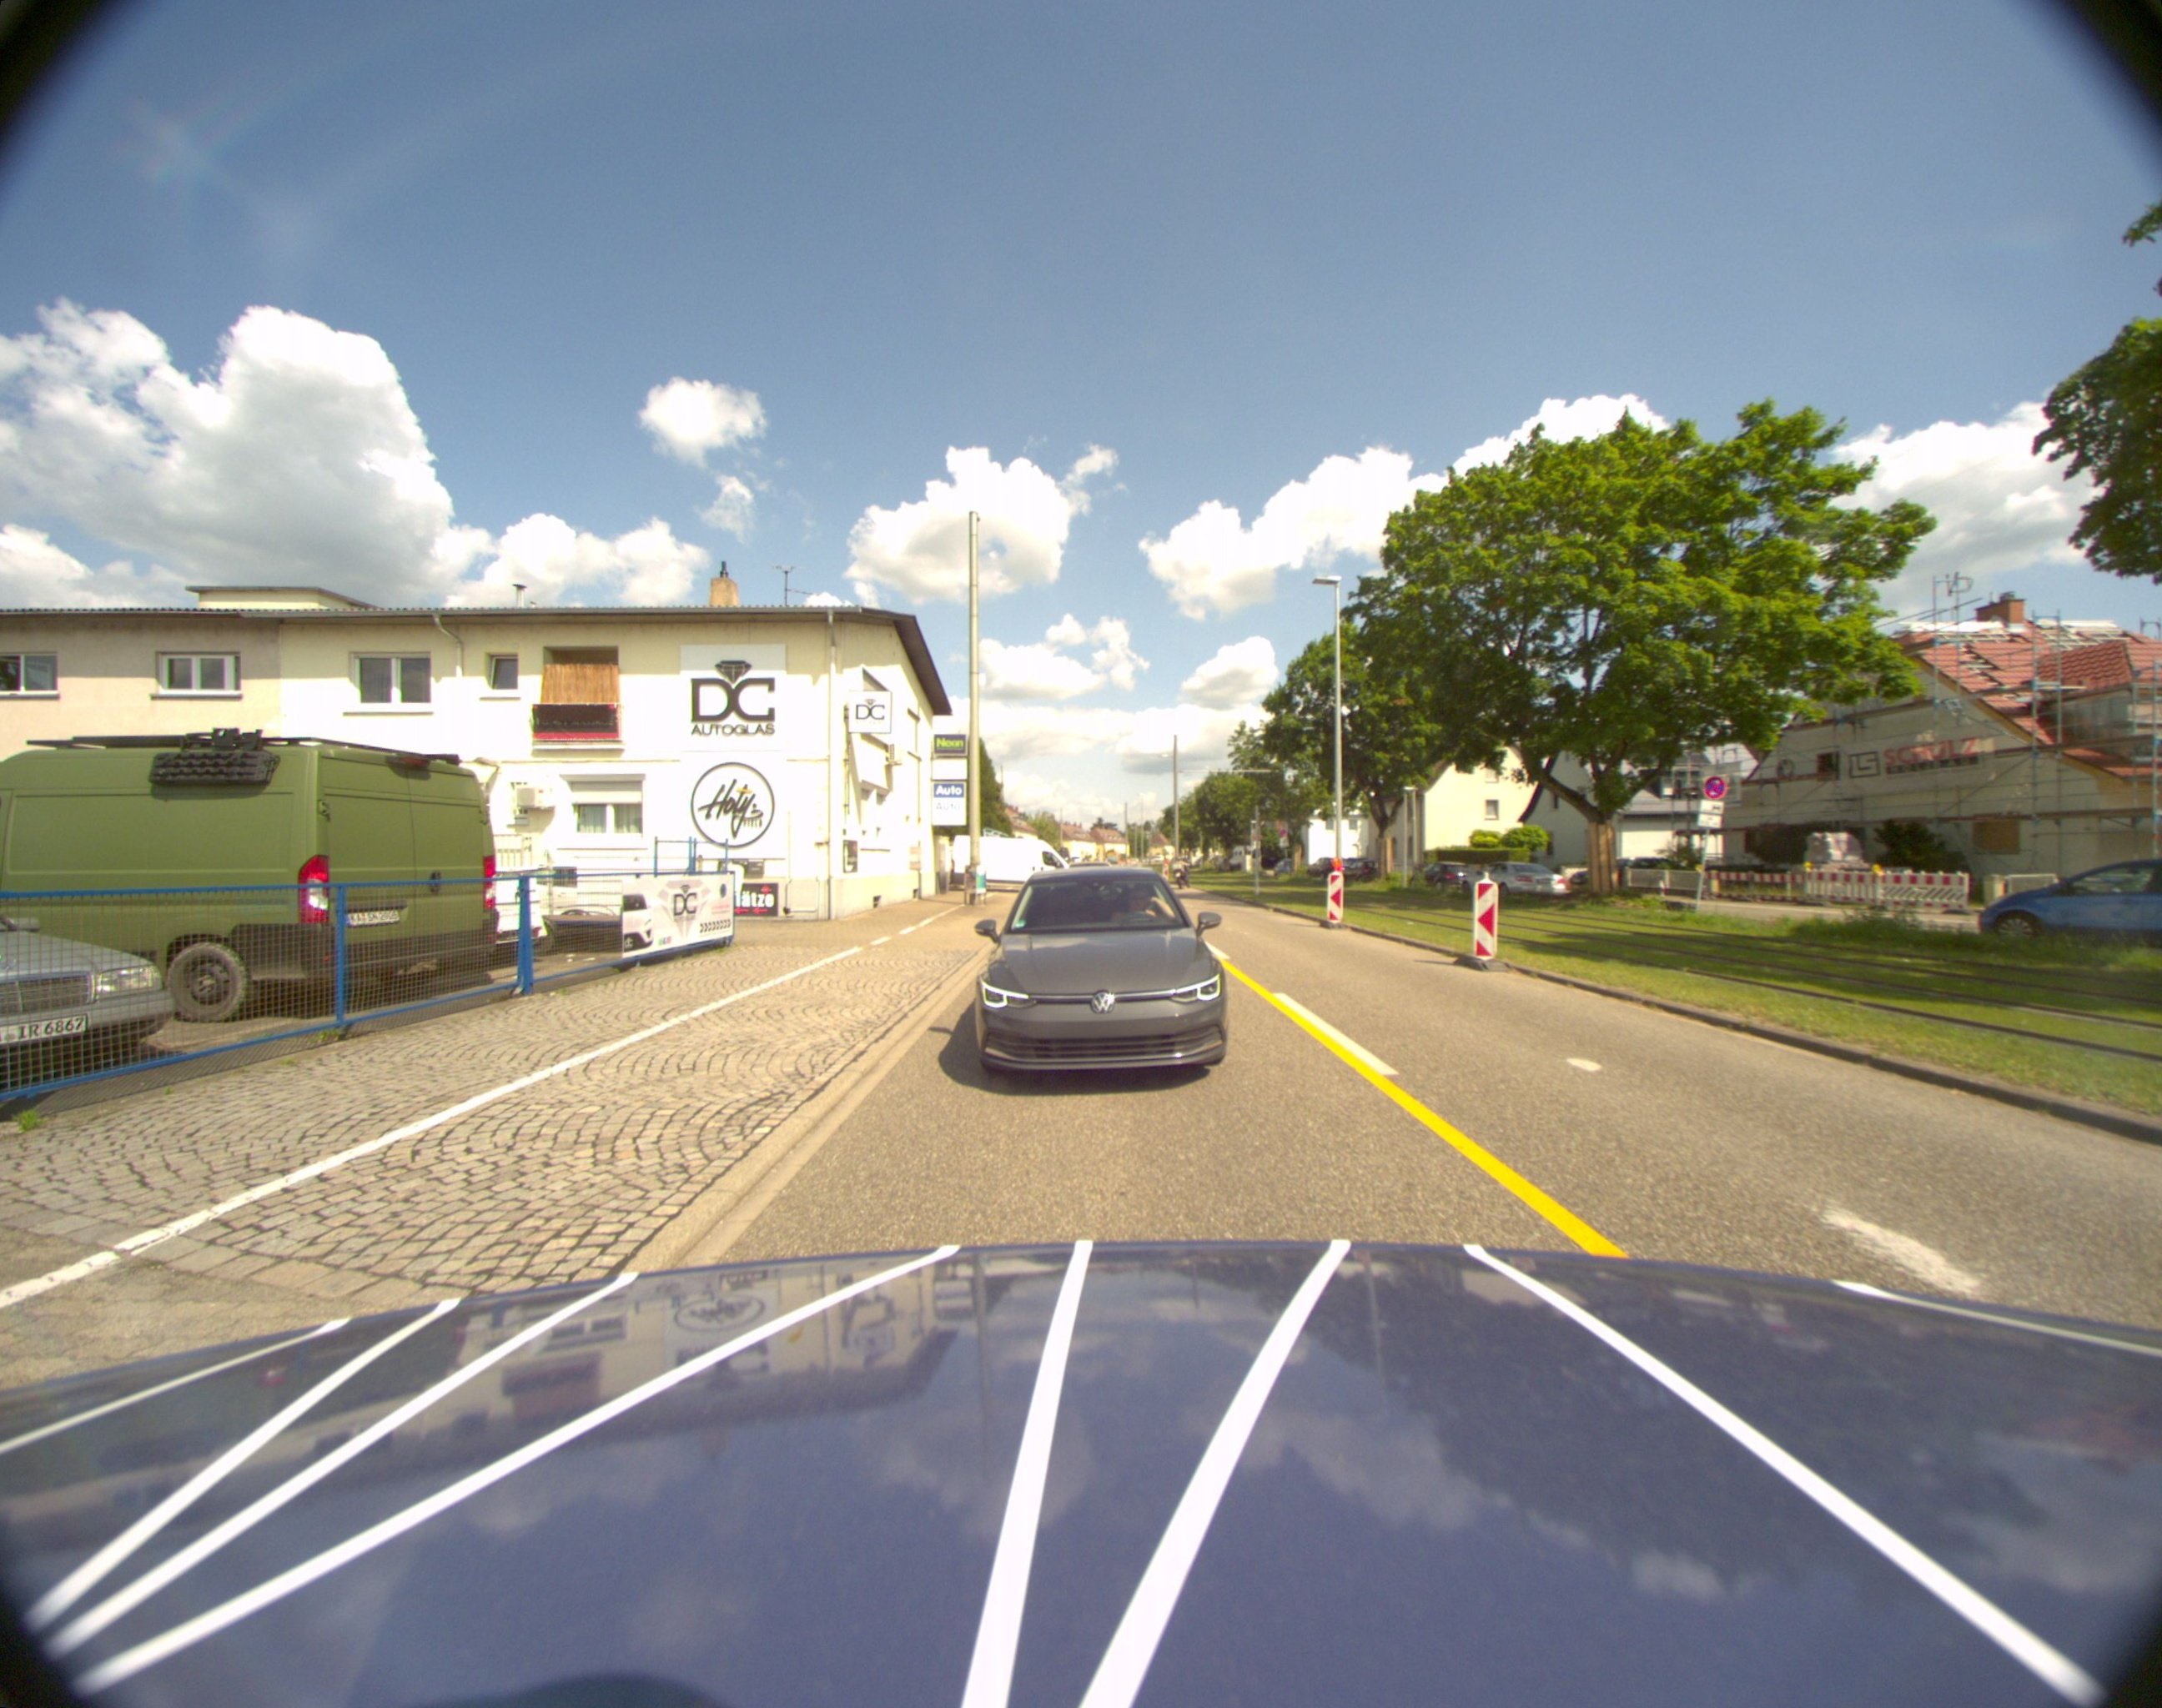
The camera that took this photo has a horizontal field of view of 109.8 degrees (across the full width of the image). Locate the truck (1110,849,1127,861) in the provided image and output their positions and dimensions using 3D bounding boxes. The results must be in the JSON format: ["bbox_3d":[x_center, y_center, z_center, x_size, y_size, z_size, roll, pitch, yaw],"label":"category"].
[{"bbox_3d":[9.906,0.148,201.056,2.710,3.119,8.124,0,0,15],"label":"truck"}]

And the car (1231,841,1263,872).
[{"bbox_3d":[16.813,0.275,77.276,2.136,3.019,5.084,-1,-1,1],"label":"car"}]

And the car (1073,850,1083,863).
[{"bbox_3d":[-0.499,0.424,136.214,1.701,2.233,4.947,0,0,2],"label":"car"}]

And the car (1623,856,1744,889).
[{"bbox_3d":[28.903,0.891,36.516,4.402,1.477,1.704,-1,-1,1],"label":"car"}]

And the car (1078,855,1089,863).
[{"bbox_3d":[0.480,0.906,146.711,1.701,1.574,4.002,0,0,6],"label":"car"}]

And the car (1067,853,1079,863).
[{"bbox_3d":[-1.319,0.676,123.044,1.701,1.574,4.001,0,0,3],"label":"car"}]

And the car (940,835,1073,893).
[{"bbox_3d":[-3.466,0.456,34.806,5.843,2.449,2.090,2,0,-11],"label":"car"}]

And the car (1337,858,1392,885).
[{"bbox_3d":[16.767,1.036,45.160,1.702,1.477,4.407,-1,-1,1],"label":"car"}]

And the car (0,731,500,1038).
[{"bbox_3d":[-8.728,0.271,7.614,4.207,2.627,2.113,0,0,2],"label":"car"}]

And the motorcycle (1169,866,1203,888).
[{"bbox_3d":[5.252,1.111,37.741,0.657,1.040,2.116,0,0,40],"label":"motorcycle"}]

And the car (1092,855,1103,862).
[{"bbox_3d":[3.842,0.917,173.602,1.700,1.574,4.004,0,0,12],"label":"car"}]

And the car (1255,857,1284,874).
[{"bbox_3d":[17.642,1.079,71.332,1.702,1.477,4.407,-1,-1,1],"label":"car"}]

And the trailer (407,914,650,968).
[{"bbox_3d":[-8.370,1.307,11.664,2.733,0.662,1.329,0,0,-1],"label":"trailer"}]

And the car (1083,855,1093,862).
[{"bbox_3d":[1.438,0.910,155.842,1.701,1.574,4.002,0,0,7],"label":"car"}]

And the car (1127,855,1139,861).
[{"bbox_3d":[12.882,0.960,188.060,2.116,1.477,4.410,0,0,12],"label":"car"}]

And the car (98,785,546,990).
[{"bbox_3d":[-9.503,0.403,9.733,4.207,2.392,1.586,0,0,2],"label":"car"}]

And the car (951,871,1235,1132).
[{"bbox_3d":[0.101,0.936,6.560,1.702,1.477,4.000,0,0,1],"label":"car"}]

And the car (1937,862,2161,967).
[{"bbox_3d":[16.181,0.867,11.404,1.702,1.477,4.407,-1,-1,1],"label":"car"}]

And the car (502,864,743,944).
[{"bbox_3d":[-8.859,0.944,14.858,3.775,1.454,1.555,0,0,2],"label":"car"}]

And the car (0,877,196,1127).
[{"bbox_3d":[-8.461,0.888,4.778,4.282,1.444,1.713,0,0,8],"label":"car"}]

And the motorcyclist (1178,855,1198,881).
[{"bbox_3d":[5.307,0.699,37.800,0.657,1.284,0.781,0,1,40],"label":"motorcyclist"}]

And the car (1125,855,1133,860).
[{"bbox_3d":[13.815,0.951,218.687,1.700,1.574,4.005,0,0,16],"label":"car"}]

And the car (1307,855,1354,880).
[{"bbox_3d":[16.550,0.900,50.666,1.702,1.562,4.407,-1,-1,1],"label":"car"}]

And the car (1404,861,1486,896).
[{"bbox_3d":[16.622,1.121,34.942,1.702,1.477,4.407,-1,-1,1],"label":"car"}]

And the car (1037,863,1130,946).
[{"bbox_3d":[0.078,0.941,15.882,1.702,1.477,4.000,0,0,1],"label":"car"}]

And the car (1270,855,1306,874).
[{"bbox_3d":[16.640,0.877,61.286,1.702,1.477,4.407,-1,-1,1],"label":"car"}]

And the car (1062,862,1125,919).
[{"bbox_3d":[0.365,1.010,22.357,1.702,1.477,4.000,0,0,1],"label":"car"}]

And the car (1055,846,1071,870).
[{"bbox_3d":[-1.917,0.451,82.443,1.702,2.510,5.144,0,0,0],"label":"car"}]

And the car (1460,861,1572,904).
[{"bbox_3d":[16.418,1.067,28.975,1.788,1.477,4.523,-1,-1,2],"label":"car"}]
